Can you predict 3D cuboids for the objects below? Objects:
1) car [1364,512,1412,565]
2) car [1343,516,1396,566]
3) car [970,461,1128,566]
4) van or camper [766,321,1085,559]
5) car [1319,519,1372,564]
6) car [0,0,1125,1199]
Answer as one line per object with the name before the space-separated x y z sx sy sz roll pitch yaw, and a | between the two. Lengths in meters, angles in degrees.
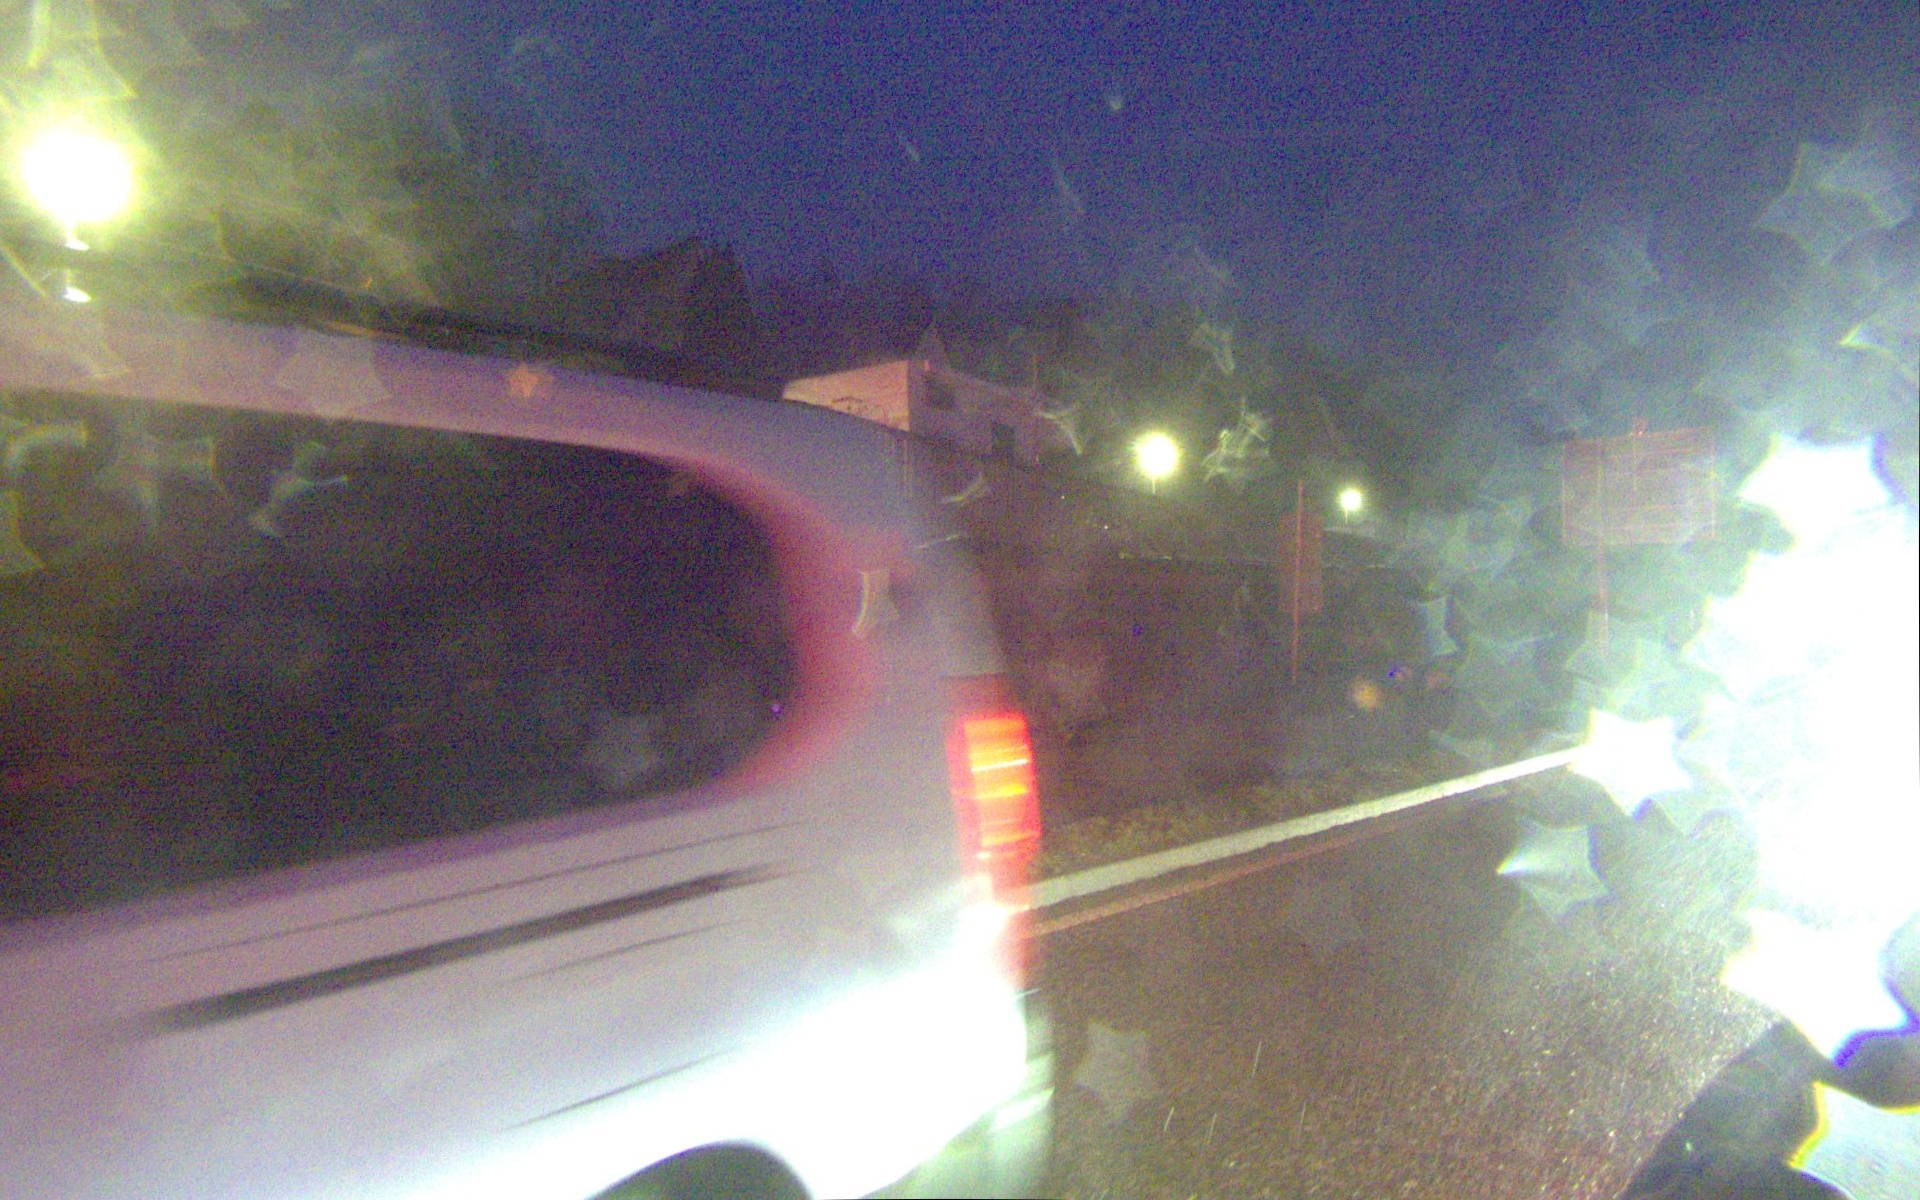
car | 24.733 -3.477 58.435 1.922 2.809 4.206 0 0 32
car | 21.865 -3.090 53.912 1.922 2.451 4.206 0 0 32
car | 2.106 -1.847 22.930 1.985 2.039 3.954 0 0 32
van or camper | -0.242 -2.154 15.911 2.395 2.828 5.712 0 0 30
car | 18.909 -2.827 49.534 1.721 2.039 3.658 0 0 32
car | -1.920 0.320 1.082 4.265 1.888 1.855 -1 0 -41
